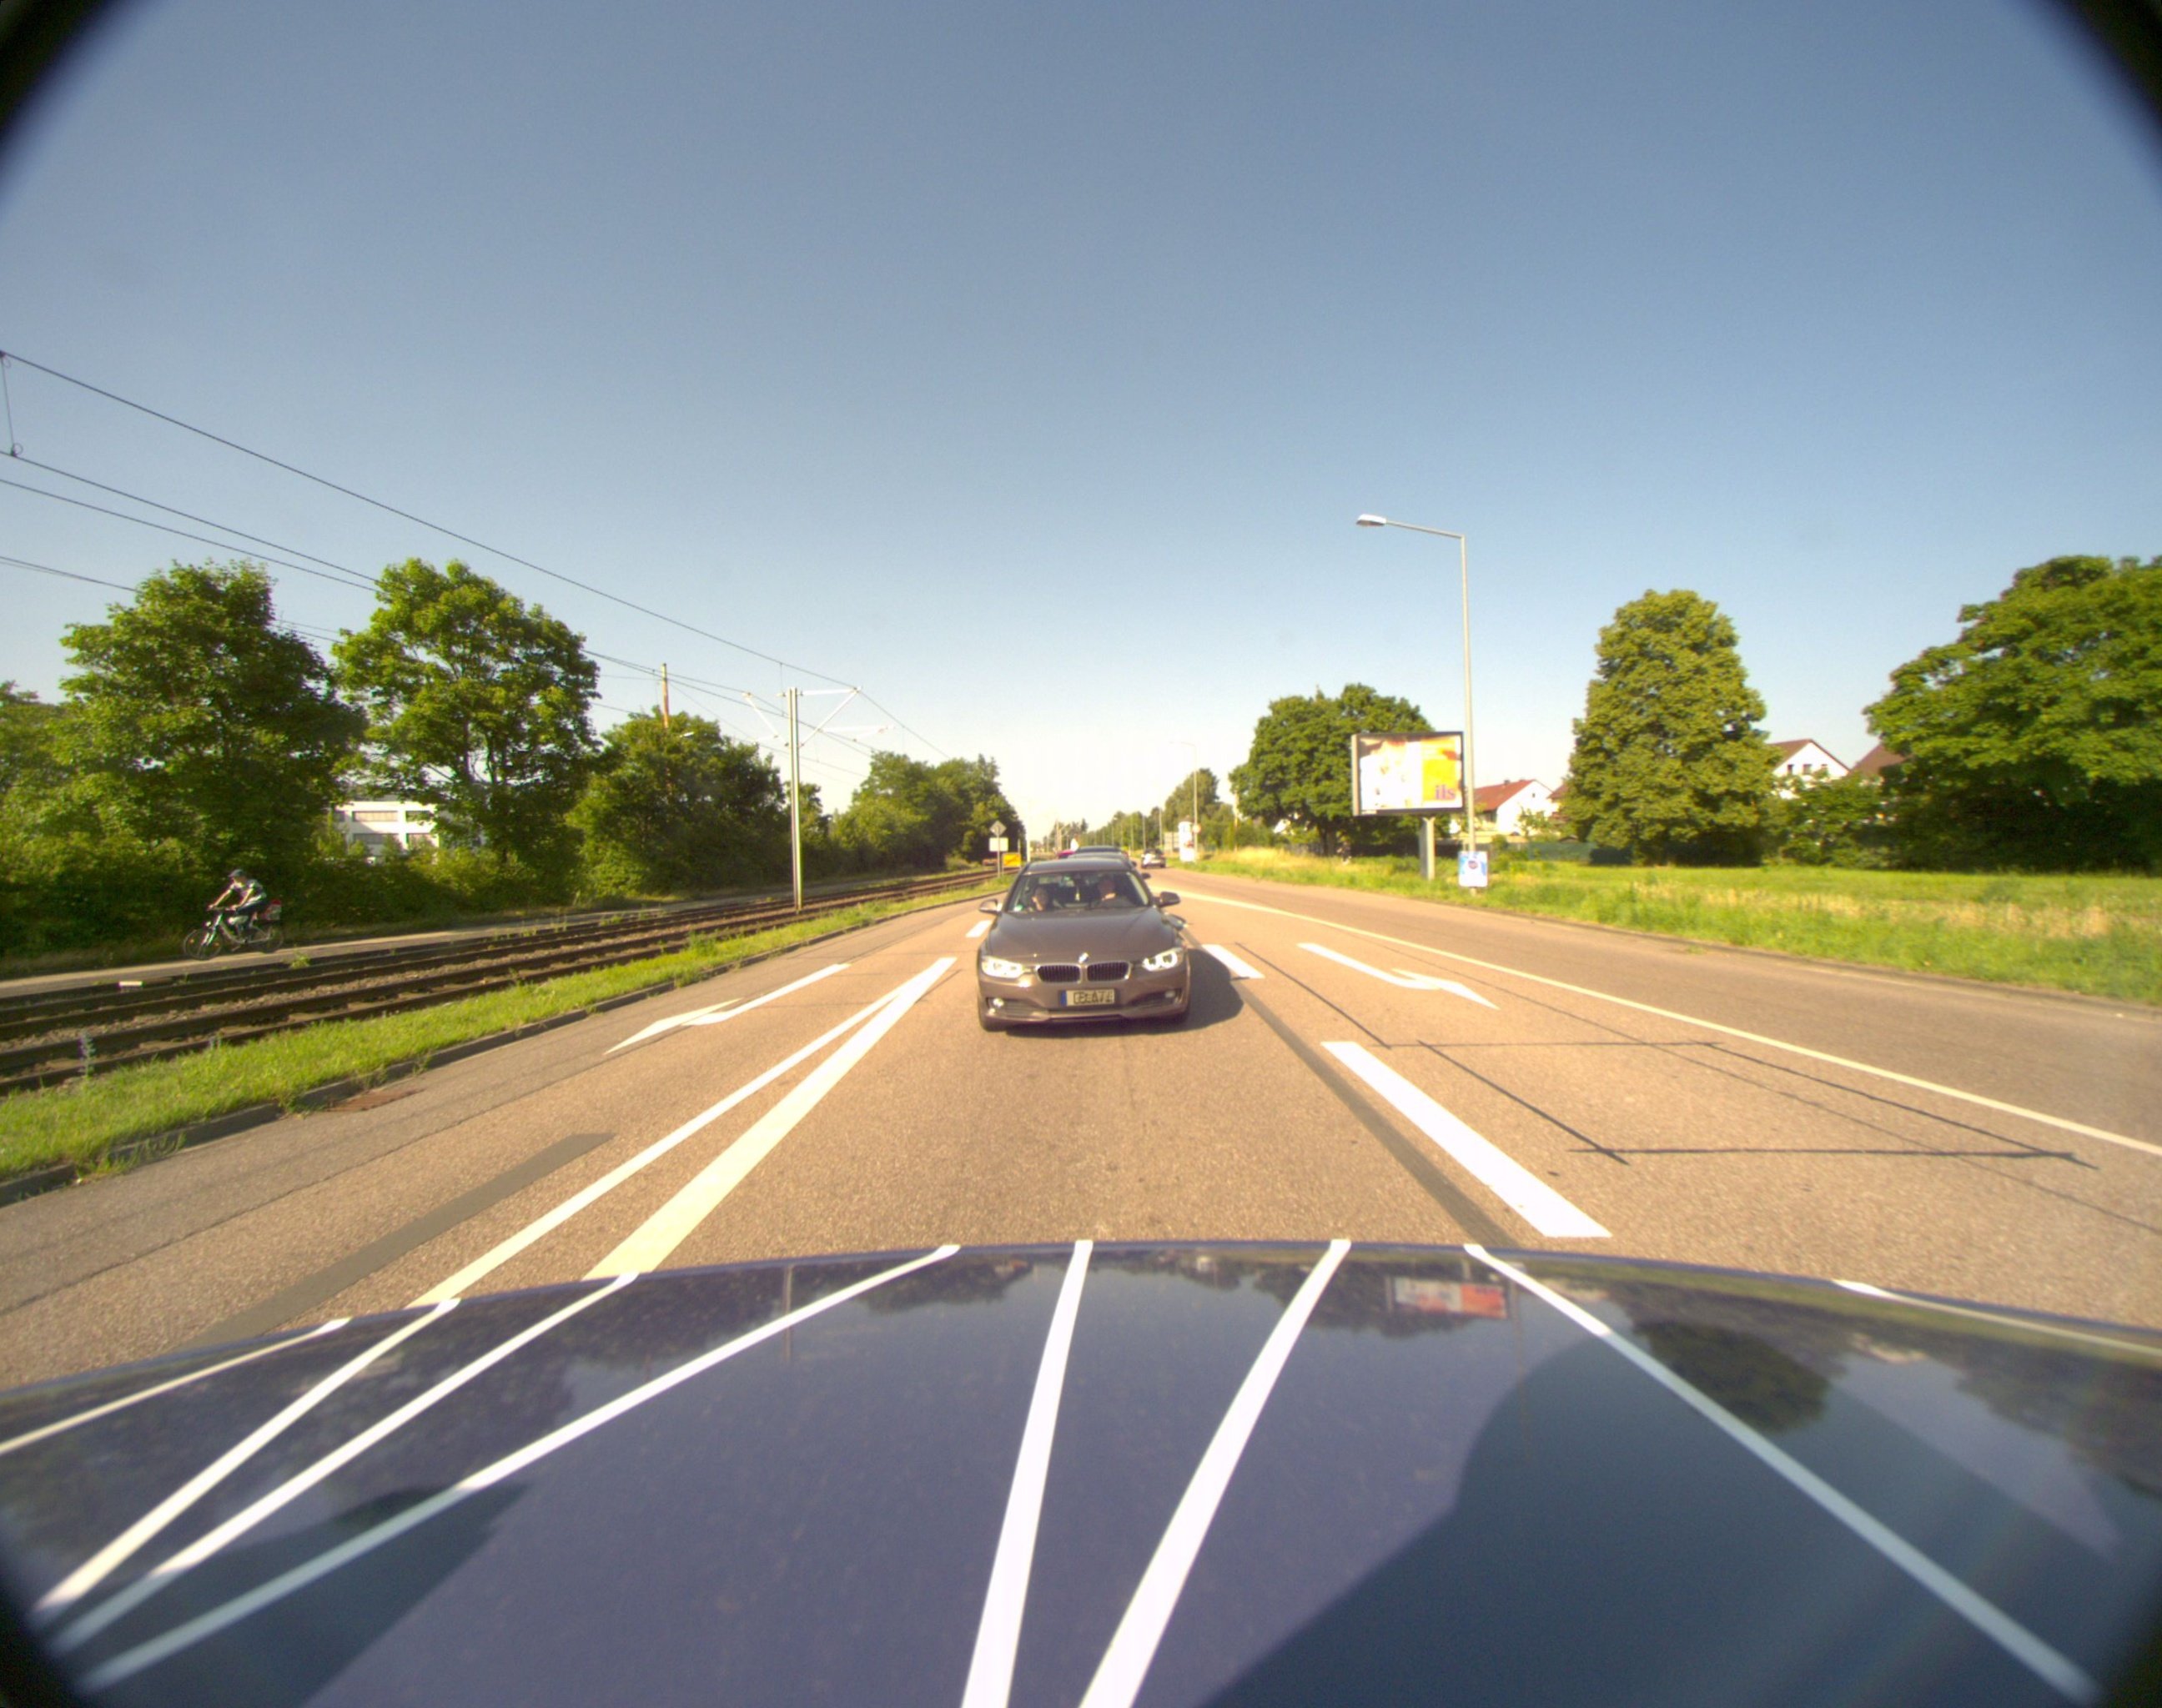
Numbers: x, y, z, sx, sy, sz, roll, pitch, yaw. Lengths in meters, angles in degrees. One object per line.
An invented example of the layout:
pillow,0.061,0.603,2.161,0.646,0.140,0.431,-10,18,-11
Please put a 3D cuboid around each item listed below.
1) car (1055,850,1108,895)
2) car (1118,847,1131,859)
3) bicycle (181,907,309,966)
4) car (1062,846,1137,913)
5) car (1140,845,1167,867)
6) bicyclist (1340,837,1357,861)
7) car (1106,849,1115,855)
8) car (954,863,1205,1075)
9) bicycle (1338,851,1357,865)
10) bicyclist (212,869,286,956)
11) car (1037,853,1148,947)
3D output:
car,0.040,0.628,28.456,1.807,1.498,4.197,-1,1,1
car,5.538,-0.173,96.281,1.698,1.490,3.677,0,1,4
bicycle,-17.801,1.728,16.251,0.546,1.041,1.874,-1,1,3
car,0.504,0.625,21.608,1.821,1.641,4.610,-3,1,1
car,5.425,0.103,57.081,1.637,1.551,3.675,-1,1,0
bicyclist,15.889,-0.285,45.198,0.638,1.420,1.071,-1,1,1
car,7.293,-0.595,190.564,1.784,1.469,4.284,-1,0,-4
car,0.032,0.892,7.920,1.821,1.416,4.461,-3,1,1
bicycle,15.869,0.229,45.274,0.455,0.749,1.834,-1,1,0
bicyclist,-17.834,1.231,16.306,0.707,1.797,0.718,-1,1,3
car,0.233,0.771,14.992,1.821,1.481,4.610,-1,1,1
